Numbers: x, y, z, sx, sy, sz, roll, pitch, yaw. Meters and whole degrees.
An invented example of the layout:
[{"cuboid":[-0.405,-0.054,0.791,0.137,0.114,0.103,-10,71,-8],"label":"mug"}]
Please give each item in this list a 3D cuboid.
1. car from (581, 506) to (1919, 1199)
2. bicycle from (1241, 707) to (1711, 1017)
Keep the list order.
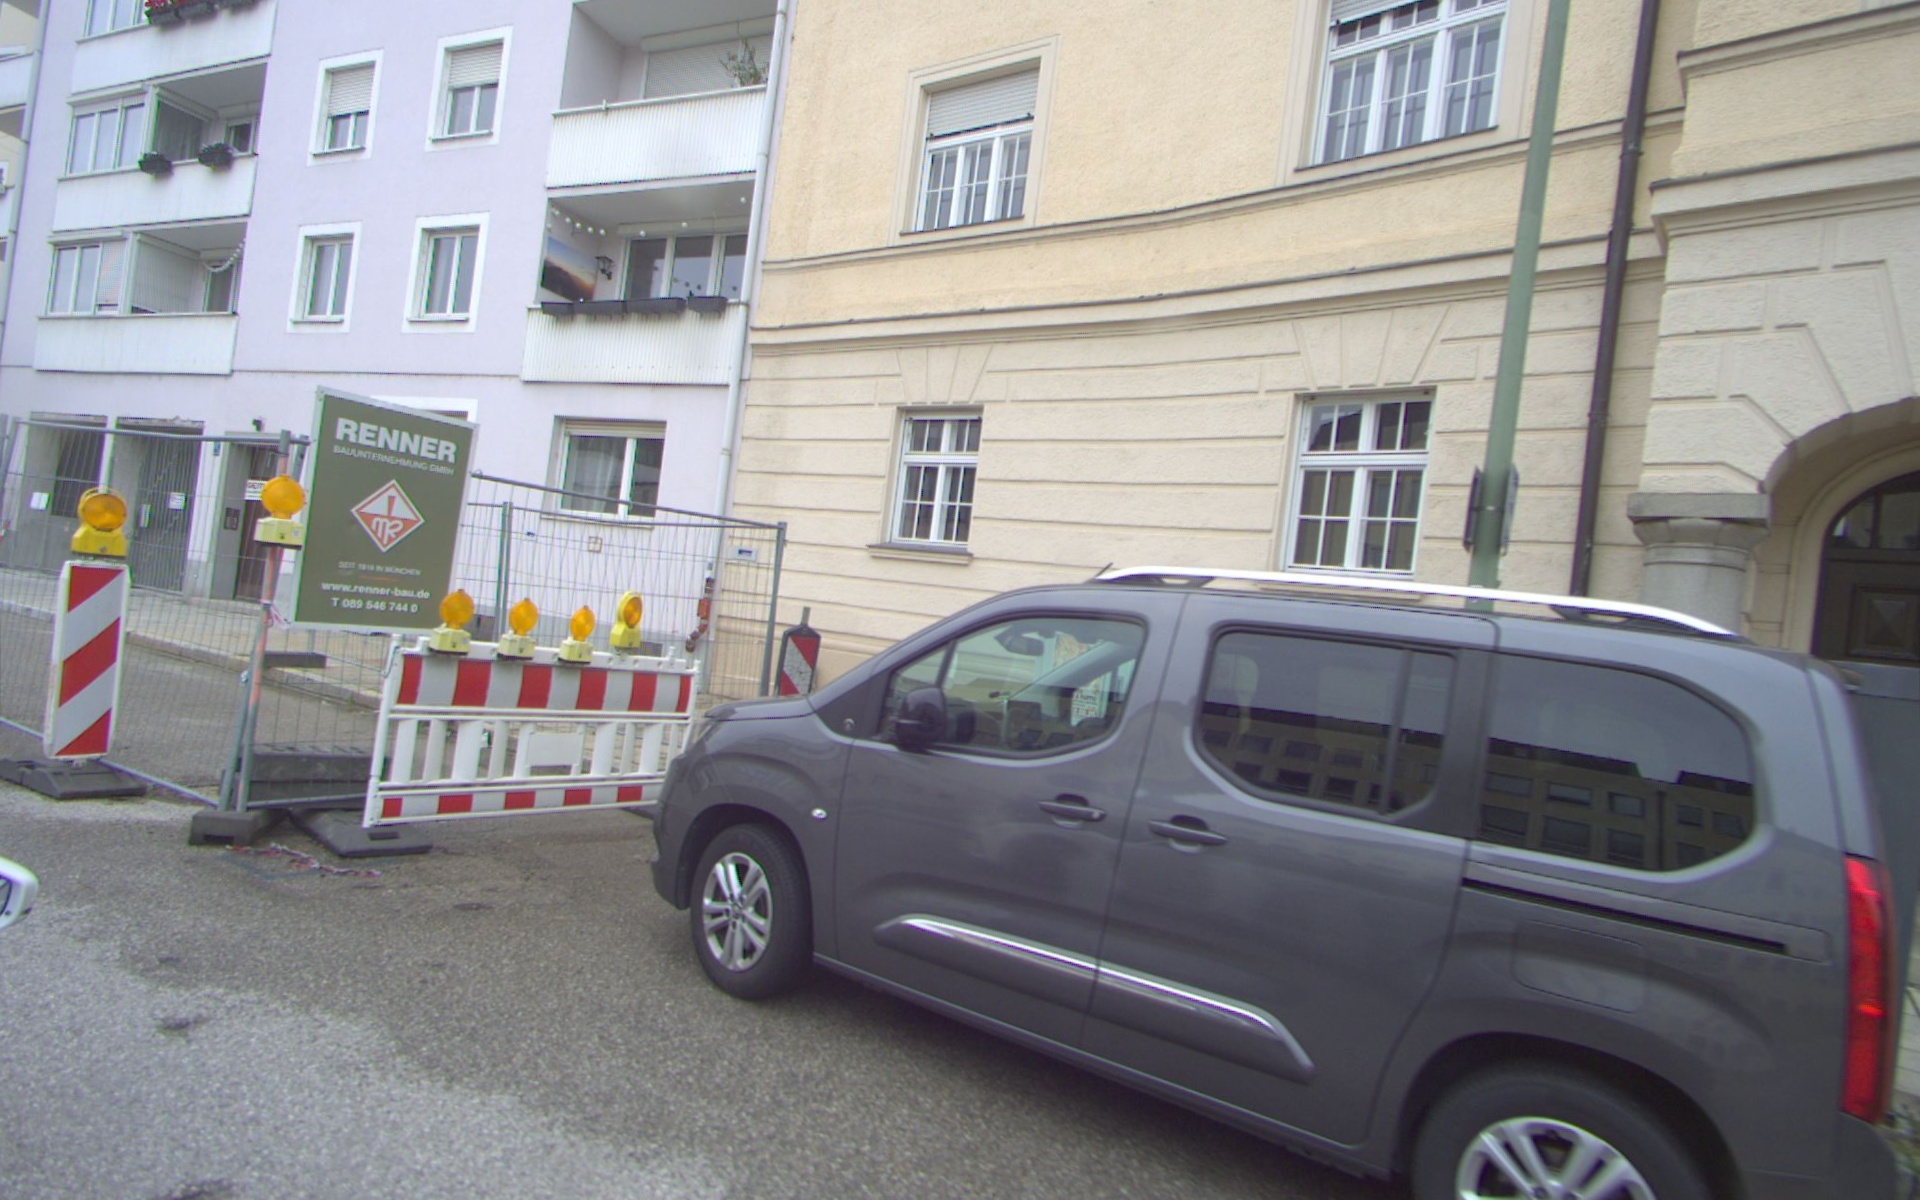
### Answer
[{"cuboid":[0.740,0.823,3.889,4.206,1.827,1.781,7,-3,33],"label":"car"},{"cuboid":[2.512,1.205,5.079,1.922,1.026,0.580,7,-1,35],"label":"bicycle"}]
